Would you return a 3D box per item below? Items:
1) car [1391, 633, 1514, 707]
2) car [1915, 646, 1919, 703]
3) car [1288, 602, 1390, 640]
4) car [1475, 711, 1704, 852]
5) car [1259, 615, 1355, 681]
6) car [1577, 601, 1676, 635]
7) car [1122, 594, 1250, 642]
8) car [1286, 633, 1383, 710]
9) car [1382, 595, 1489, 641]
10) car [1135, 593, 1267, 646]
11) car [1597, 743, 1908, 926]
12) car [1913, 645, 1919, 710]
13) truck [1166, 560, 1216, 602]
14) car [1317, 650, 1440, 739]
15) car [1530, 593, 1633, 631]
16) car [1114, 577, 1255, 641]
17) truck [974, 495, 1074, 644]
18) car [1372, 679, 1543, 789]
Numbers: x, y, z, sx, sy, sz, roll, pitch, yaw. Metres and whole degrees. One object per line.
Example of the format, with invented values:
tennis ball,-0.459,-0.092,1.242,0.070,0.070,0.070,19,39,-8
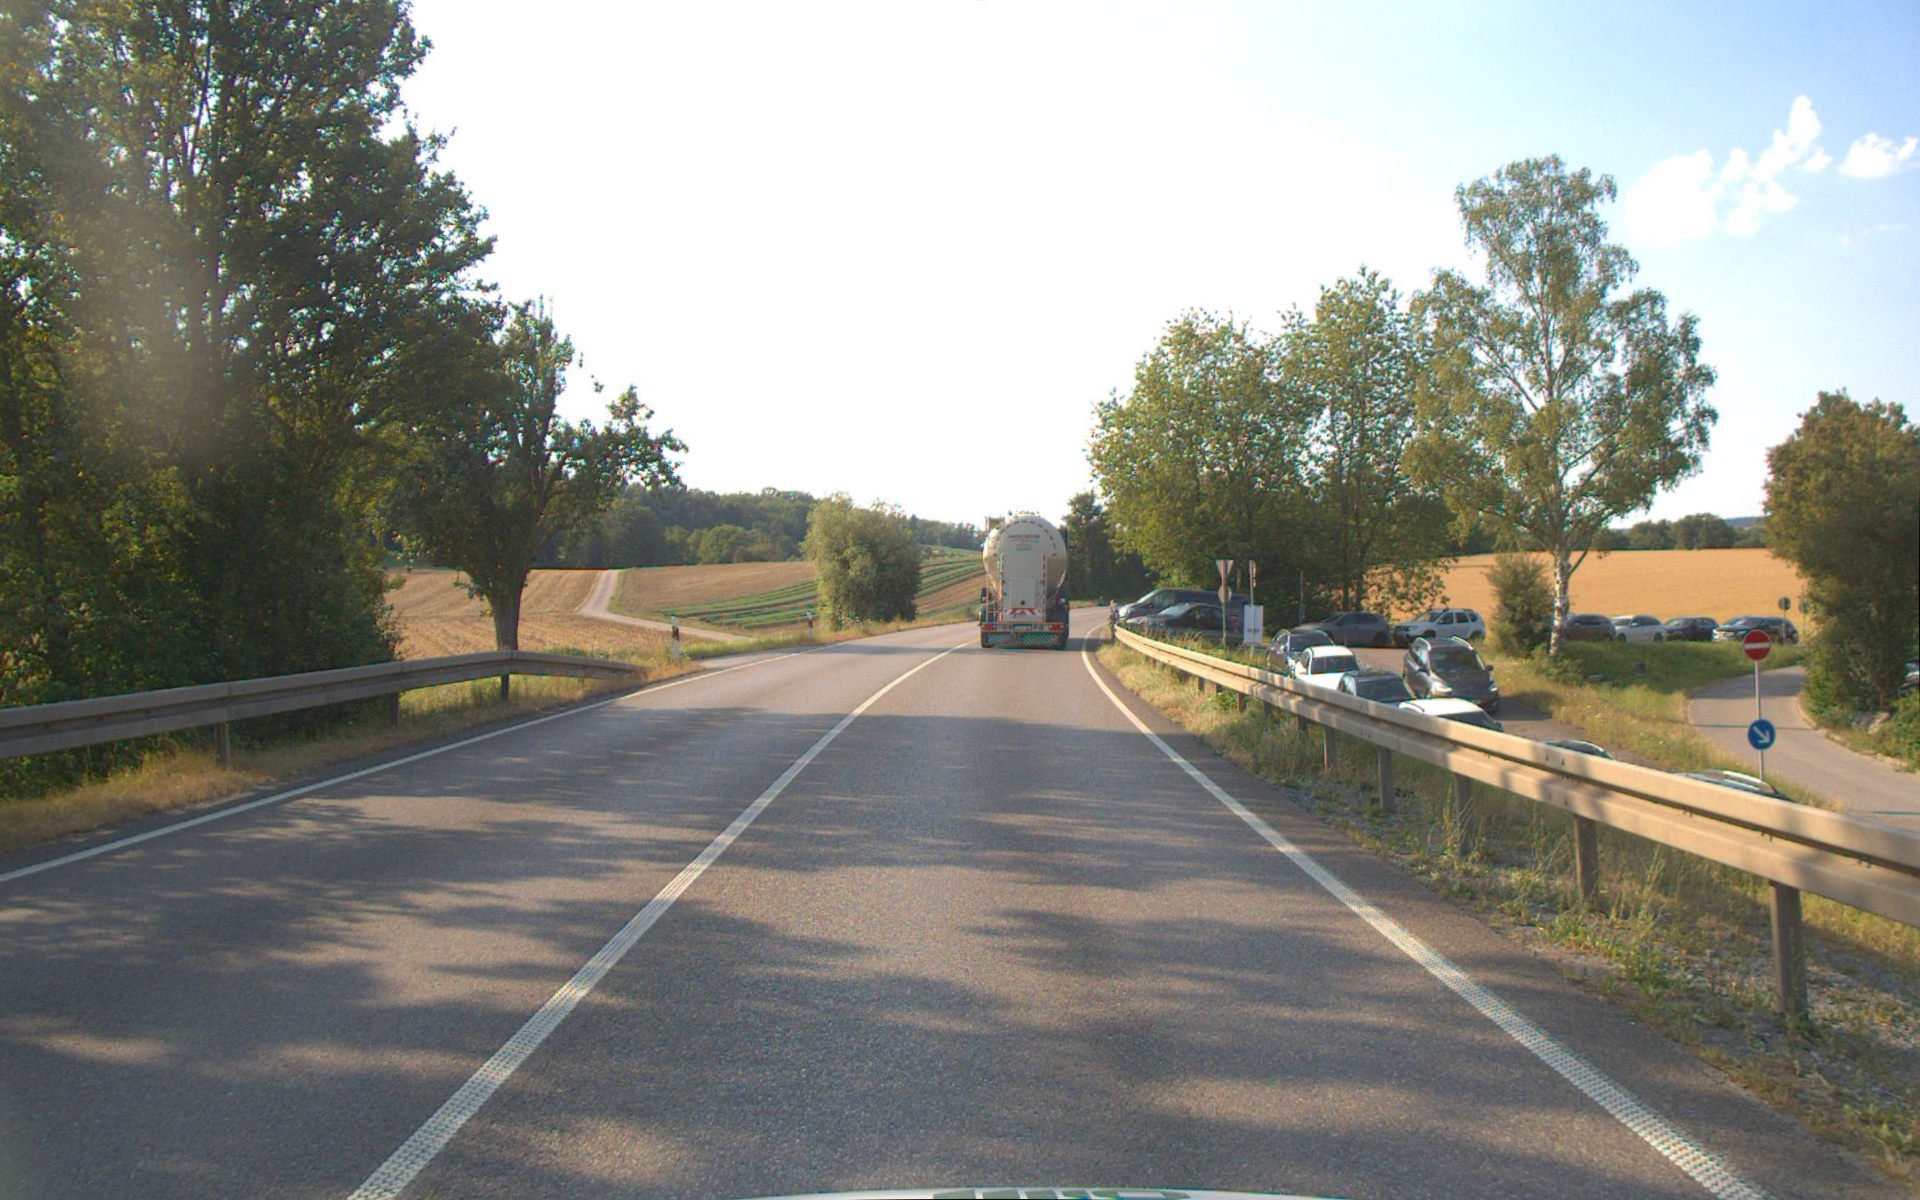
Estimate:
car,12.999,1.807,43.926,1.853,1.704,4.783,-1,0,1
car,32.519,2.366,51.713,4.492,1.720,1.802,0,0,27
car,15.447,0.858,67.417,3.667,1.466,1.799,1,0,-23
car,10.571,2.985,28.198,1.854,1.586,4.781,-4,2,-2
car,10.545,1.425,50.590,1.853,1.586,4.783,-4,2,0
car,30.800,0.817,76.357,4.585,1.533,1.978,0,0,-33
car,8.103,0.649,59.204,4.256,1.424,1.708,3,1,-25
car,10.184,1.904,45.274,1.852,1.586,4.787,-3,2,5
car,20.027,0.720,69.644,4.149,1.778,1.798,-1,1,-24
car,8.264,0.662,56.688,4.261,1.535,1.705,4,0,-28
car,10.860,3.153,23.129,1.854,1.586,4.781,-4,2,-2
car,28.835,2.317,47.721,1.761,1.874,4.596,0,1,23
truck,24.897,-2.149,177.468,3.116,4.301,13.180,-1,1,17
car,10.045,2.223,40.048,1.853,1.586,4.785,-3,2,2
car,26.416,0.516,70.239,4.534,1.466,1.791,1,0,-34
car,8.539,0.320,63.196,5.034,1.977,1.976,5,1,2
truck,2.181,-0.914,53.601,2.832,4.215,13.177,0,0,3
car,10.127,2.678,34.051,1.854,1.586,4.781,-4,2,-2
